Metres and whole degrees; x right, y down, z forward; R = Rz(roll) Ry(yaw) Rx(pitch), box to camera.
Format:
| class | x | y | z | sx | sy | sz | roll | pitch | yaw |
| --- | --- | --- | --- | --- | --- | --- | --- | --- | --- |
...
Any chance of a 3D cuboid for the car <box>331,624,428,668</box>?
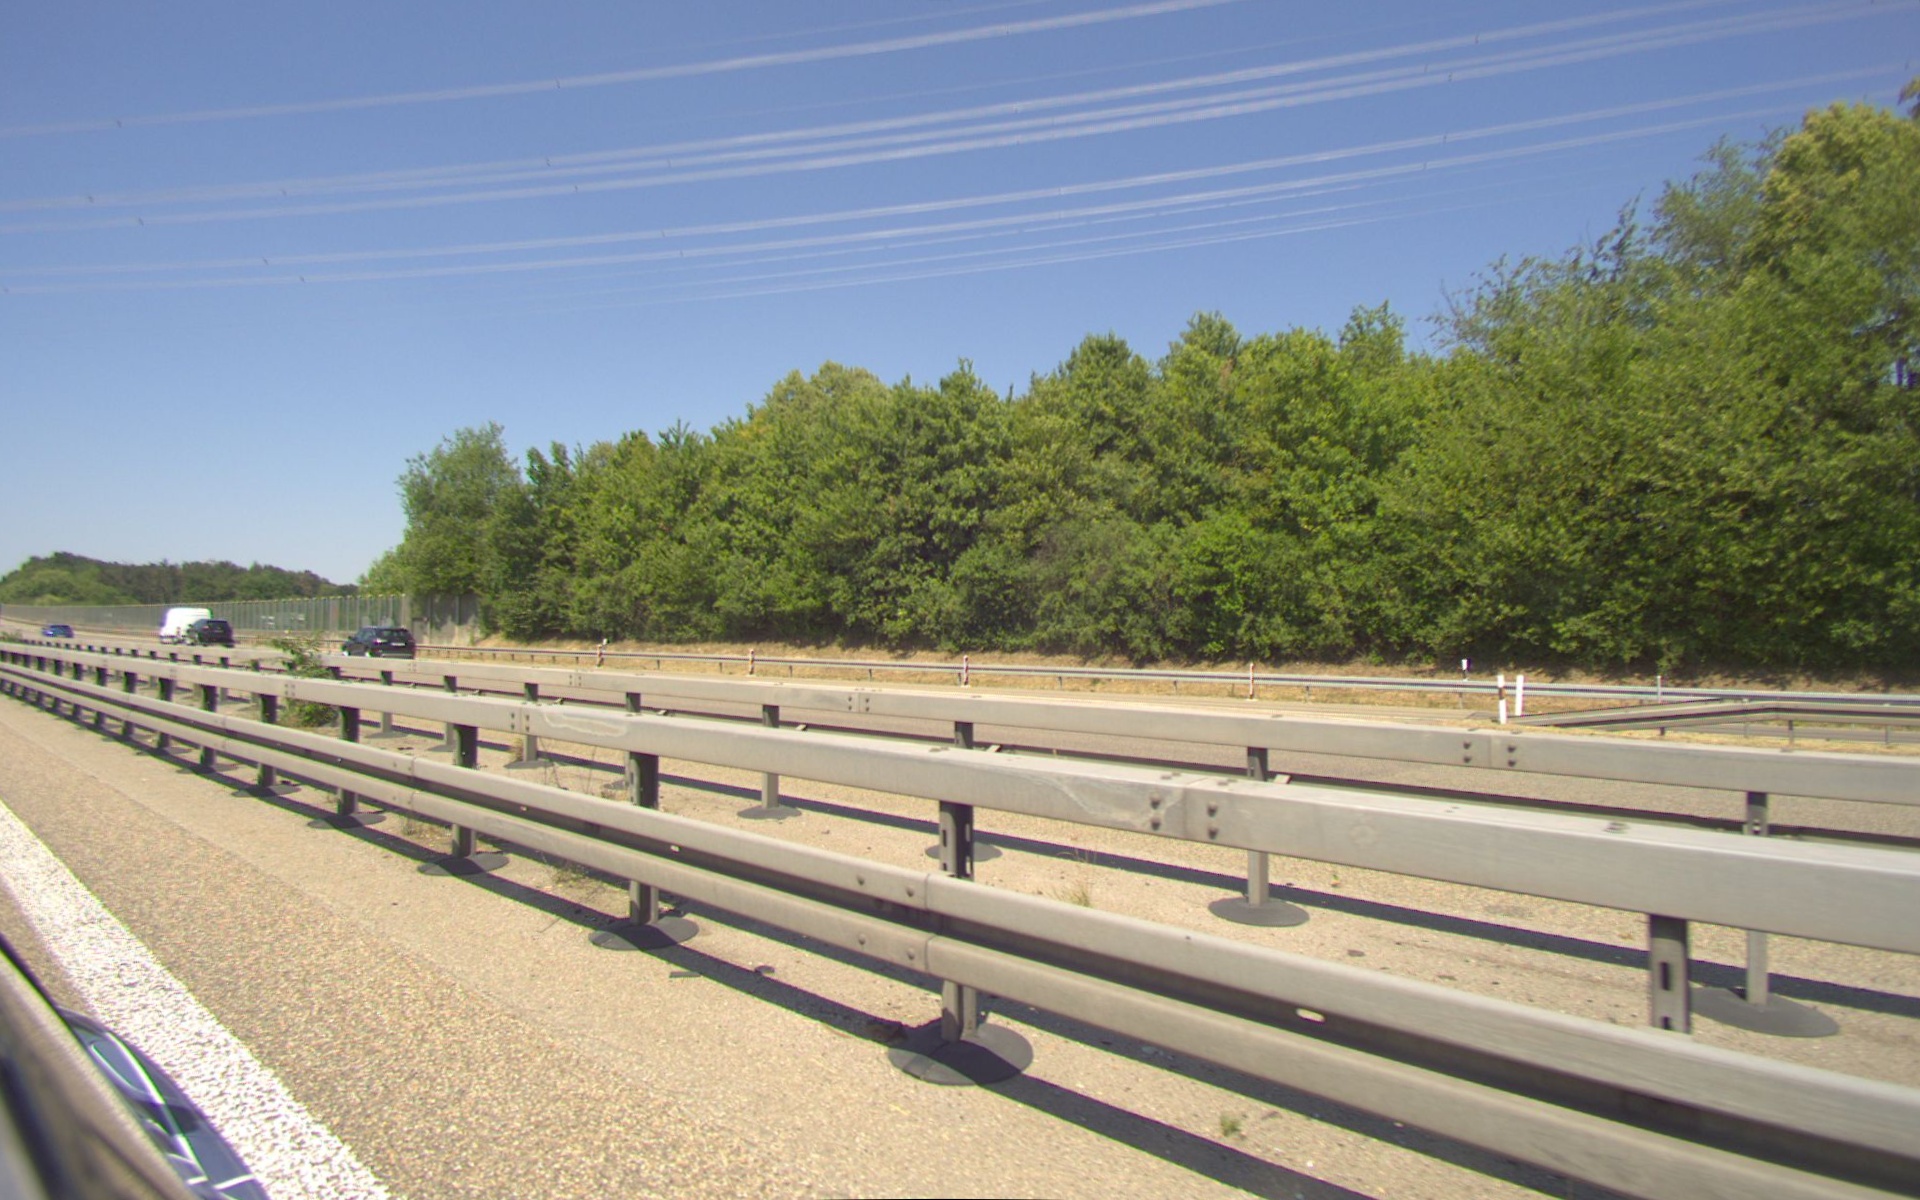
| class | x | y | z | sx | sy | sz | roll | pitch | yaw |
| --- | --- | --- | --- | --- | --- | --- | --- | --- | --- |
| car | -25.245 | 1.975 | 43.935 | 4.509 | 1.813 | 2.136 | -1 | -4 | 39 |

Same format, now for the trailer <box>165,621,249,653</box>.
| class | x | y | z | sx | sy | sz | roll | pitch | yaw |
| --- | --- | --- | --- | --- | --- | --- | --- | --- | --- |
| trailer | -48.327 | 2.358 | 64.881 | 6.717 | 1.961 | 2.737 | -1 | -4 | 39 |

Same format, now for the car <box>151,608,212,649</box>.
| class | x | y | z | sx | sy | sz | roll | pitch | yaw |
| --- | --- | --- | --- | --- | --- | --- | --- | --- | --- |
| car | -53.155 | 1.973 | 69.064 | 6.001 | 2.660 | 2.087 | -1 | -4 | 41 |

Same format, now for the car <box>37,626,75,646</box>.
| class | x | y | z | sx | sy | sz | roll | pitch | yaw |
| --- | --- | --- | --- | --- | --- | --- | --- | --- | --- |
| car | -73.054 | 2.904 | 81.797 | 4.353 | 1.485 | 1.763 | -1 | -5 | 42 |
